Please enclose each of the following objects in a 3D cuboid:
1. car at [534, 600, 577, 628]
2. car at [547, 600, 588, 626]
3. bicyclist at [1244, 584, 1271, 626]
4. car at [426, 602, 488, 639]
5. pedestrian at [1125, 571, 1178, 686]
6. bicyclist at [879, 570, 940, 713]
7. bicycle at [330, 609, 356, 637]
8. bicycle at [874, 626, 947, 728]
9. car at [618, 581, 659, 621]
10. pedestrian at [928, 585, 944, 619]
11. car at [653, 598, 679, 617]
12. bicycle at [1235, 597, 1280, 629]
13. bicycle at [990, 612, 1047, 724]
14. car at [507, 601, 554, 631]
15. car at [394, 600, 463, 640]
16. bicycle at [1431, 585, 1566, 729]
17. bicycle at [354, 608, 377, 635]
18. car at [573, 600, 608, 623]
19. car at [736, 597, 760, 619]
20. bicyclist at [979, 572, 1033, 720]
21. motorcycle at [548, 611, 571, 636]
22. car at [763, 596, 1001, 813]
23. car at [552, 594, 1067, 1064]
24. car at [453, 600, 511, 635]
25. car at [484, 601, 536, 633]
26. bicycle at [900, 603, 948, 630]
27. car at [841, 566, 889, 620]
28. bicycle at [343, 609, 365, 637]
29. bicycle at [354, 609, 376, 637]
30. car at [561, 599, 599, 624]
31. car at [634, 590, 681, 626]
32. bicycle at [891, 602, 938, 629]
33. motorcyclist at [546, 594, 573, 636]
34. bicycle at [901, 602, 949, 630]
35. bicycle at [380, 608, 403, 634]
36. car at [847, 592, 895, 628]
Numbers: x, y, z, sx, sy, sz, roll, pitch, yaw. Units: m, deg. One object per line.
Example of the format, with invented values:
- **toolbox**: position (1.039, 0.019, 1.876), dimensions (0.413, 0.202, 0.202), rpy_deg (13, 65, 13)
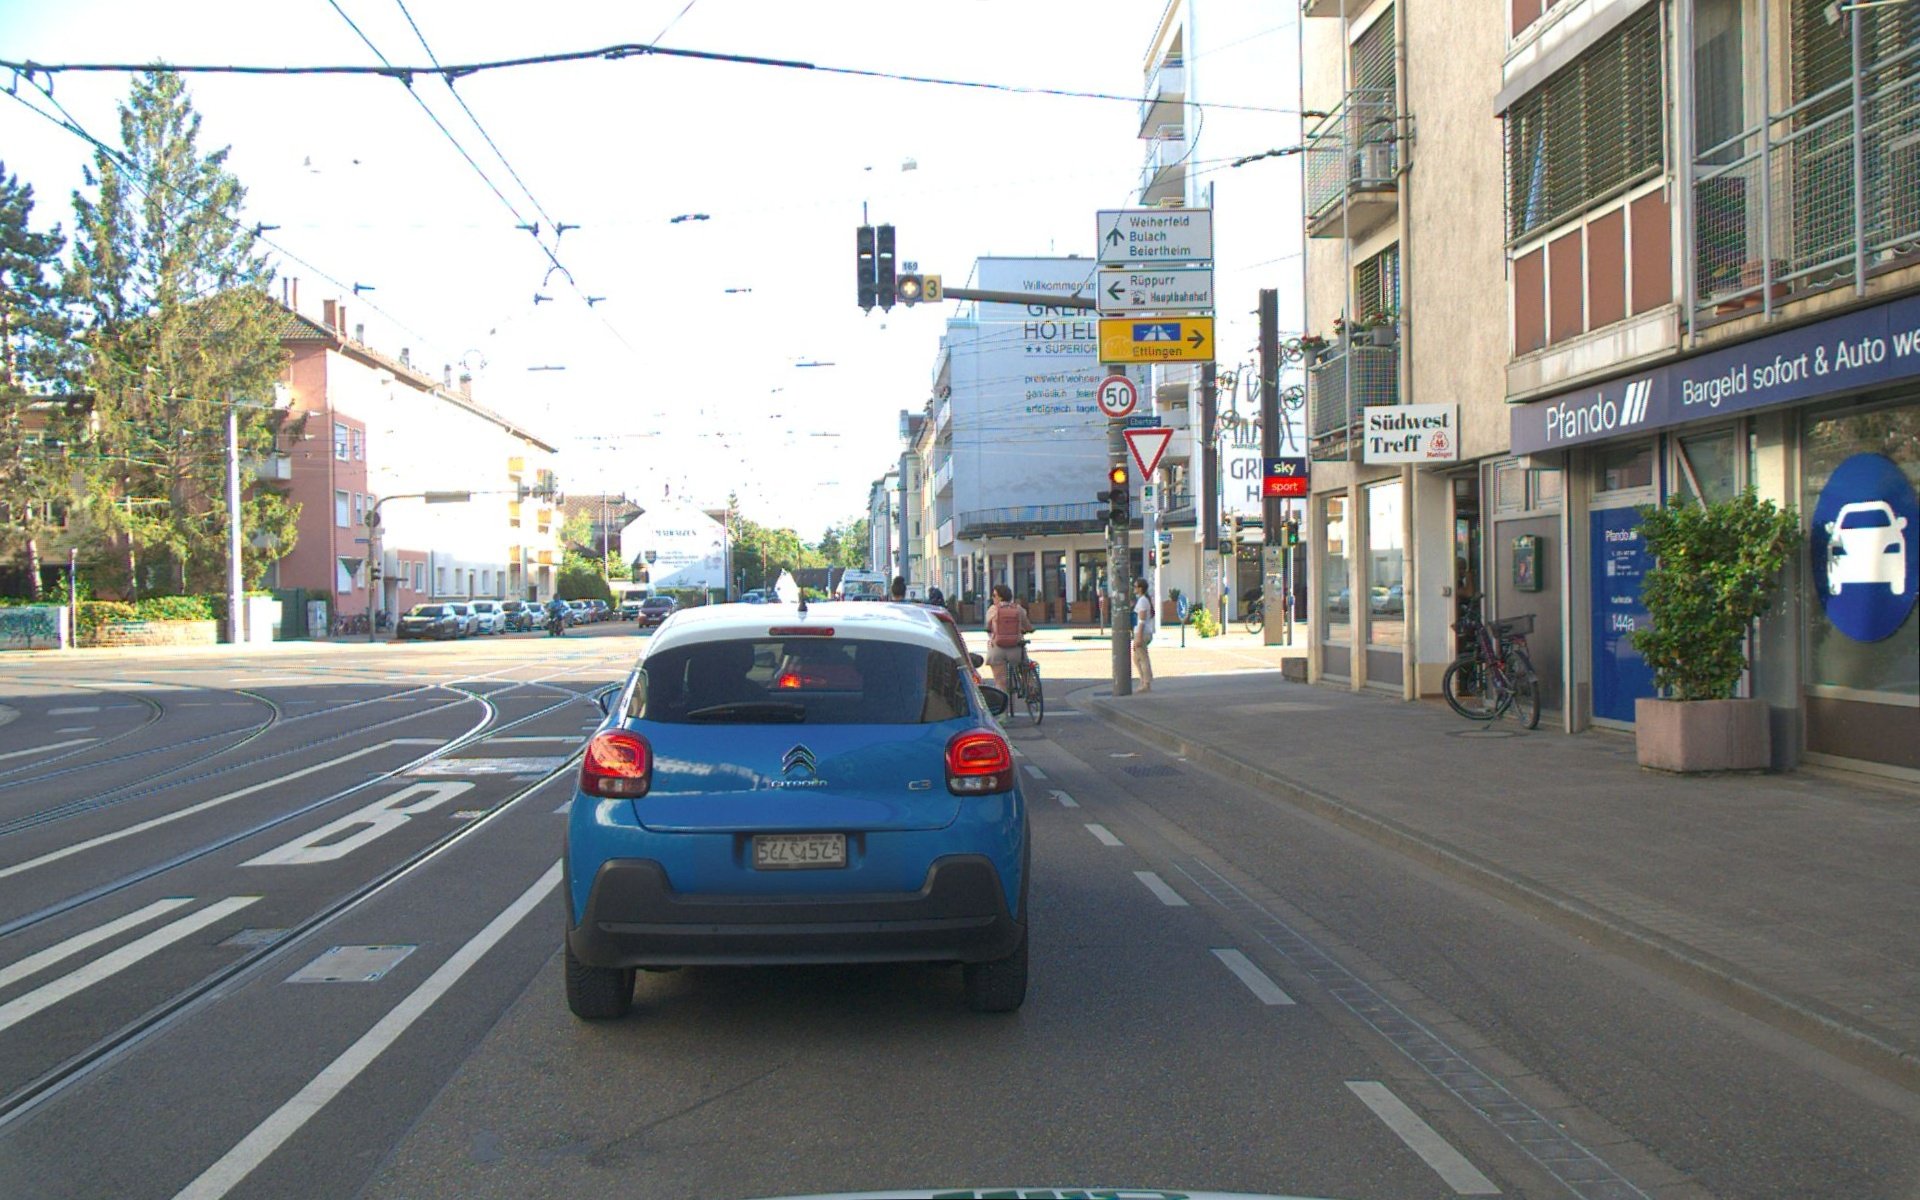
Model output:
- **car**: position (-23.936, 0.825, 97.990), dimensions (1.913, 1.545, 3.995), rpy_deg (-1, 0, -6)
- **car**: position (-24.410, 0.811, 102.987), dimensions (1.913, 1.545, 3.995), rpy_deg (-1, 0, -6)
- **bicyclist**: position (10.457, 0.182, 58.123), dimensions (0.715, 1.459, 0.603), rpy_deg (-1, 0, 37)
- **car**: position (-22.556, 0.878, 74.253), dimensions (1.913, 1.545, 4.040), rpy_deg (-1, 0, -6)
- **pedestrian**: position (2.814, 0.413, 24.339), dimensions (0.735, 1.663, 0.740), rpy_deg (-1, 0, 5)
- **bicyclist**: position (-0.605, 0.480, 19.723), dimensions (0.605, 1.658, 0.758), rpy_deg (-1, 0, -10)
- **bicycle**: position (-24.985, 0.921, 66.989), dimensions (0.628, 1.101, 1.905), rpy_deg (-1, 0, -11)
- **bicycle**: position (-0.611, 0.893, 19.830), dimensions (0.605, 1.123, 1.882), rpy_deg (-1, 0, -10)
- **car**: position (-23.224, 0.070, 119.575), dimensions (2.446, 2.759, 5.828), rpy_deg (-1, 0, -7)
- **pedestrian**: position (-1.013, 0.090, 70.235), dimensions (0.514, 1.445, 0.547), rpy_deg (-1, 0, 19)
- **car**: position (-25.574, 0.647, 144.163), dimensions (1.913, 1.545, 3.995), rpy_deg (-1, 0, -6)
- **bicycle**: position (10.456, 0.459, 58.138), dimensions (1.464, 1.110, 0.603), rpy_deg (-1, 0, 37)
- **bicycle**: position (0.716, 0.815, 20.633), dimensions (0.601, 1.286, 1.910), rpy_deg (-1, 0, -1)
- **car**: position (-23.765, 0.858, 91.565), dimensions (1.913, 1.545, 3.995), rpy_deg (-1, 0, -6)
- **car**: position (-22.018, 0.793, 68.648), dimensions (1.913, 1.545, 3.995), rpy_deg (-1, 0, -6)
- **bicycle**: position (5.107, 0.505, 15.815), dimensions (0.627, 1.286, 1.910), rpy_deg (-1, 0, -1)
- **bicycle**: position (-25.877, 0.930, 71.985), dimensions (0.527, 1.101, 1.908), rpy_deg (-1, 0, -7)
- **car**: position (-25.567, 0.791, 114.591), dimensions (1.913, 1.545, 3.995), rpy_deg (-1, 0, -6)
- **car**: position (-21.809, 0.811, 170.490), dimensions (2.293, 2.074, 5.044), rpy_deg (-1, 0, -6)
- **bicyclist**: position (0.562, 0.552, 20.592), dimensions (0.588, 1.776, 1.084), rpy_deg (-1, 0, -1)
- **motorcycle**: position (-16.229, 0.942, 67.018), dimensions (0.738, 0.993, 2.092), rpy_deg (-1, 0, -9)
- **car**: position (-0.685, 0.727, 13.556), dimensions (1.647, 1.488, 3.997), rpy_deg (1, 0, -4)
- **car**: position (-0.618, 0.732, 7.347), dimensions (1.647, 1.488, 3.997), rpy_deg (1, 0, -4)
- **car**: position (-22.758, 0.822, 78.859), dimensions (1.913, 1.545, 3.995), rpy_deg (-1, 0, -6)
- **car**: position (-23.236, 0.842, 85.516), dimensions (1.913, 1.545, 3.995), rpy_deg (-1, 0, -6)
- **bicycle**: position (-1.449, 0.666, 67.081), dimensions (1.868, 1.083, 0.641), rpy_deg (-1, 0, -8)
- **car**: position (-4.234, -0.317, 73.175), dimensions (2.039, 2.309, 5.646), rpy_deg (0, 0, -4)
- **bicycle**: position (-24.592, 0.931, 67.114), dimensions (0.527, 1.101, 1.905), rpy_deg (-1, 0, -11)
- **bicycle**: position (-24.233, 0.938, 67.413), dimensions (0.527, 1.101, 1.905), rpy_deg (-1, 0, -11)
- **car**: position (-24.851, 0.752, 108.261), dimensions (1.913, 1.545, 3.995), rpy_deg (-1, 0, -6)
- **car**: position (-14.879, 0.367, 81.642), dimensions (1.967, 1.656, 5.045), rpy_deg (-1, 0, -7)
- **bicycle**: position (-1.863, 0.643, 68.267), dimensions (1.868, 1.083, 0.641), rpy_deg (-1, 0, -8)
- **motorcyclist**: position (-16.208, 0.609, 66.950), dimensions (0.973, 1.659, 0.737), rpy_deg (-1, 0, -10)
- **bicycle**: position (-1.397, 0.641, 65.776), dimensions (1.868, 1.083, 0.641), rpy_deg (-1, 0, -8)
- **bicycle**: position (-25.675, 0.943, 74.690), dimensions (0.597, 1.101, 1.908), rpy_deg (-1, 0, -7)
- **car**: position (-3.679, 0.384, 67.736), dimensions (1.752, 1.383, 3.909), rpy_deg (-1, 0, -6)
